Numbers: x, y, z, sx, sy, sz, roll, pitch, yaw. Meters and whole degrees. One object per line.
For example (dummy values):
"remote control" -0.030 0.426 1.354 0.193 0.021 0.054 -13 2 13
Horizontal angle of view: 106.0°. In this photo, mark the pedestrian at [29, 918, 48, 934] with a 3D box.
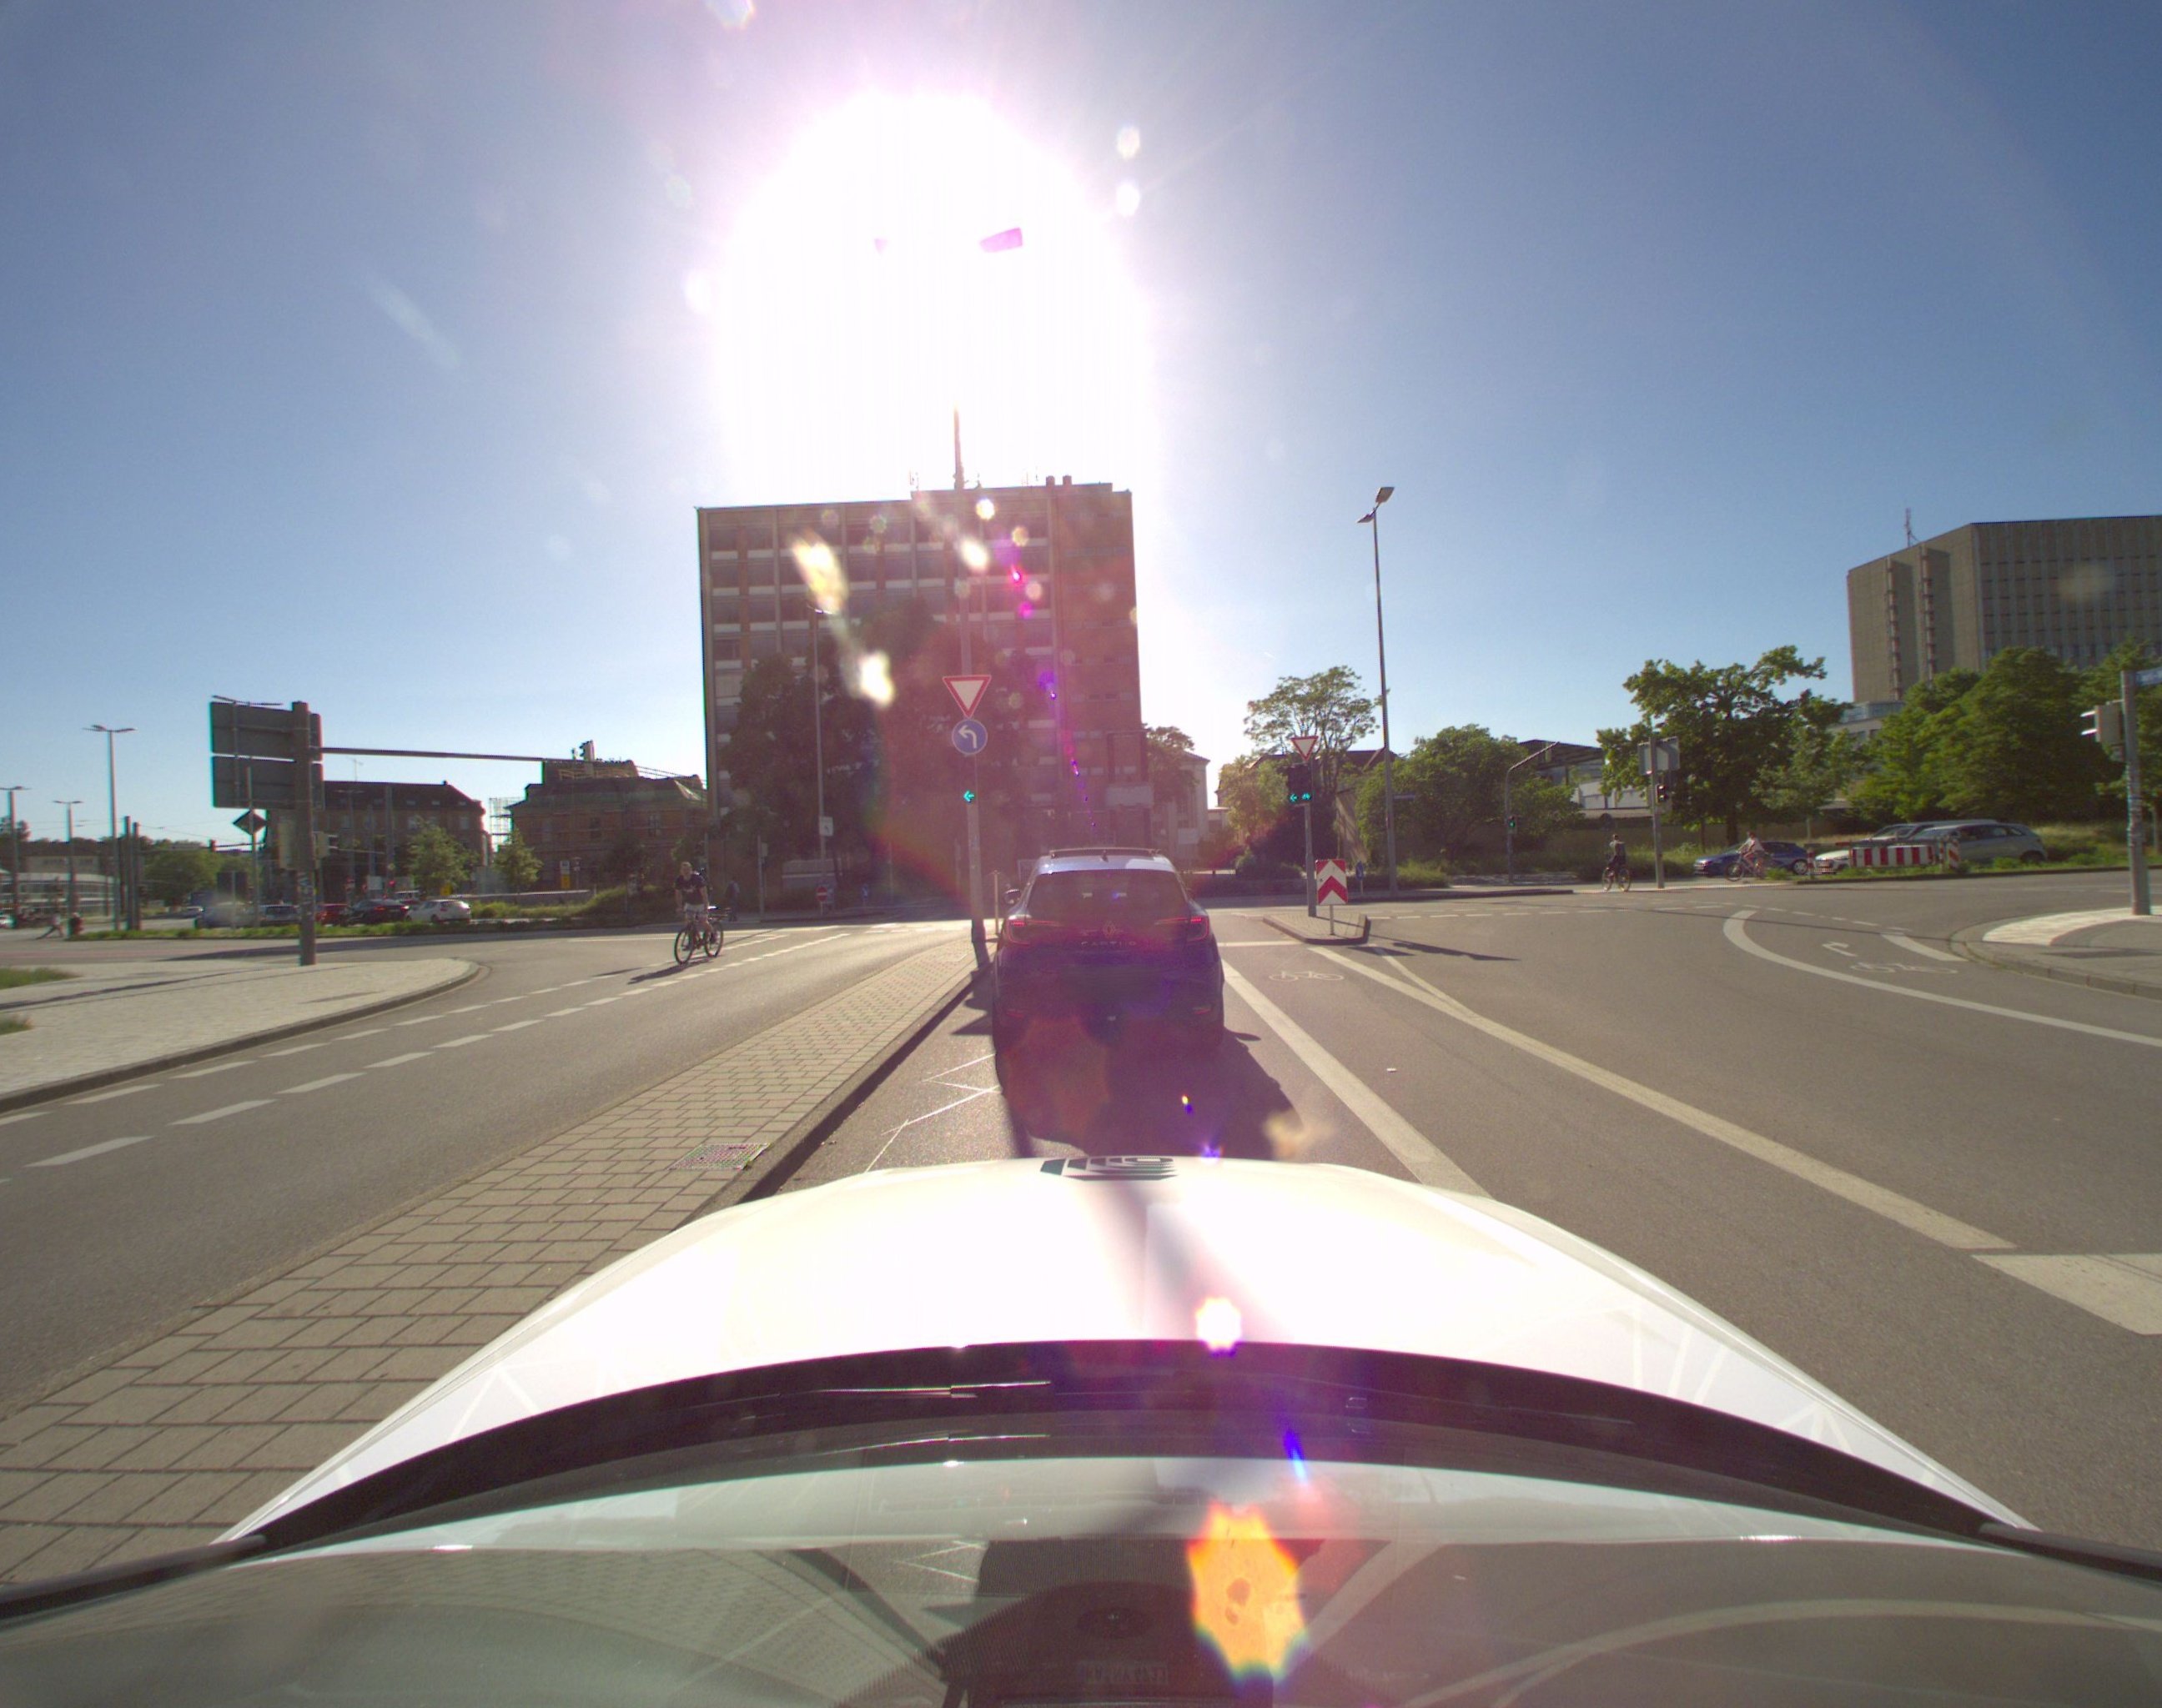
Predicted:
"pedestrian" -101.546 7.013 79.329 0.689 1.408 0.865 0 -1 0

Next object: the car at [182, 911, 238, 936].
"car" -55.240 4.412 51.629 3.859 1.443 1.741 -3 -3 33

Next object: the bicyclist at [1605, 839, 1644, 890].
"bicyclist" 15.946 0.299 23.910 0.637 1.444 0.779 -3 1 10

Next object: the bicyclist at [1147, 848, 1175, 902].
"bicyclist" 2.450 0.639 25.013 0.717 1.617 0.978 -2 -1 1

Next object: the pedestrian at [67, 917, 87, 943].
"pedestrian" -63.137 4.778 51.219 0.565 1.611 0.573 0 -1 1

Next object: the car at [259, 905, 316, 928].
"car" -53.601 4.238 55.006 3.750 1.443 1.741 -3 -3 29

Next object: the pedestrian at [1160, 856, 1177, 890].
"pedestrian" 4.673 1.013 43.320 0.727 1.816 0.735 -1 -1 19

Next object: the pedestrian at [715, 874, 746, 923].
"pedestrian" -13.763 1.737 31.986 0.753 1.833 1.093 -2 -2 -6

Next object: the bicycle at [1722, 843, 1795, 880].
"bicycle" 24.130 0.267 29.035 1.856 1.165 0.749 -4 -1 3

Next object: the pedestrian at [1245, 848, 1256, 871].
"pedestrian" 12.362 0.400 59.372 0.670 1.643 0.739 -2 -1 16

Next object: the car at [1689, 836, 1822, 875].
"car" 28.168 0.079 34.093 3.967 1.442 1.707 -2 -2 5

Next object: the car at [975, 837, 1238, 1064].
"car" 0.240 0.700 7.715 1.870 1.617 3.799 0 0 2

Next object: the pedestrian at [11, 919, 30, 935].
"pedestrian" -101.766 6.996 78.159 0.689 1.408 0.865 0 -1 0

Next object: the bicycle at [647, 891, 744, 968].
"bicycle" -6.903 1.318 14.687 0.743 1.165 1.871 -4 -1 2

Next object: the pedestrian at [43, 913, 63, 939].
"pedestrian" -65.401 4.580 51.827 0.668 1.611 0.659 -1 -1 27

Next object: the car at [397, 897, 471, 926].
"car" -36.444 3.263 45.881 3.691 1.436 1.706 -3 -1 24

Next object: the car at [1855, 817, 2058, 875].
"car" 28.027 -0.207 26.198 4.281 1.625 1.792 -2 -2 5

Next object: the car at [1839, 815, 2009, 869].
"car" 34.829 -0.449 33.756 4.718 1.953 1.942 -2 -2 5

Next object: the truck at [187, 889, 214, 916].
"truck" -128.395 6.974 118.729 5.159 3.675 2.618 -1 -1 42

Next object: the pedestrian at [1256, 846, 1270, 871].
"pedestrian" 12.488 0.307 55.930 0.669 1.643 0.740 -1 -1 44

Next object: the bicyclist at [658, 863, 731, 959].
"bicyclist" -6.924 0.999 14.631 0.717 1.621 0.978 -4 -1 1

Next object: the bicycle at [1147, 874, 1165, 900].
"bicycle" 3.633 1.582 39.523 0.743 1.165 1.871 -2 0 2

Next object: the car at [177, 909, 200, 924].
"car" -108.254 7.576 98.804 3.594 1.544 1.797 -1 -1 44

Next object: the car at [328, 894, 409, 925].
"car" -42.721 3.315 48.816 4.324 1.624 2.002 -3 -1 24

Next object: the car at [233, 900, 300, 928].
"car" -48.869 3.600 48.856 3.750 1.442 1.741 -3 -1 28

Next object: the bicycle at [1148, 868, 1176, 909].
"bicycle" 2.463 1.037 24.988 0.713 1.165 1.871 -2 0 2

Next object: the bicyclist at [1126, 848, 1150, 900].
"bicyclist" 1.964 0.683 28.219 0.717 1.763 0.978 -2 -1 1

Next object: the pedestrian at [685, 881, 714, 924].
"pedestrian" -15.038 1.913 32.076 0.710 1.612 0.686 -3 -2 25

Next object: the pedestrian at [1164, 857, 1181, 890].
"pedestrian" 4.978 1.051 44.288 0.727 1.782 0.735 -1 -1 19

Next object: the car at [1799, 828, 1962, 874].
"car" 30.316 -0.092 31.017 3.962 1.469 2.005 -3 -1 10

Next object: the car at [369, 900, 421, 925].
"car" -50.397 4.298 59.824 3.578 1.618 1.894 -4 -3 31

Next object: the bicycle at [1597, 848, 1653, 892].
"bicycle" 15.965 0.440 23.951 0.637 1.165 1.876 -3 1 10

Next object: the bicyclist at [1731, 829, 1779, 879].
"bicyclist" 24.018 0.009 29.042 0.970 1.685 0.747 -4 -1 3

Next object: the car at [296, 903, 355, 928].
"car" -47.986 3.909 51.713 3.674 1.443 1.687 -3 -3 29

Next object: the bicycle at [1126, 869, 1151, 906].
"bicycle" 1.984 1.141 28.190 0.743 1.165 1.871 -2 0 2

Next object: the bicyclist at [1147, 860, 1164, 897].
"bicyclist" 3.618 1.165 39.546 0.717 1.735 0.978 -2 -1 1

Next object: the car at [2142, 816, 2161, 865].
"car" 36.874 -0.553 25.357 4.685 1.554 1.986 -2 -2 5
